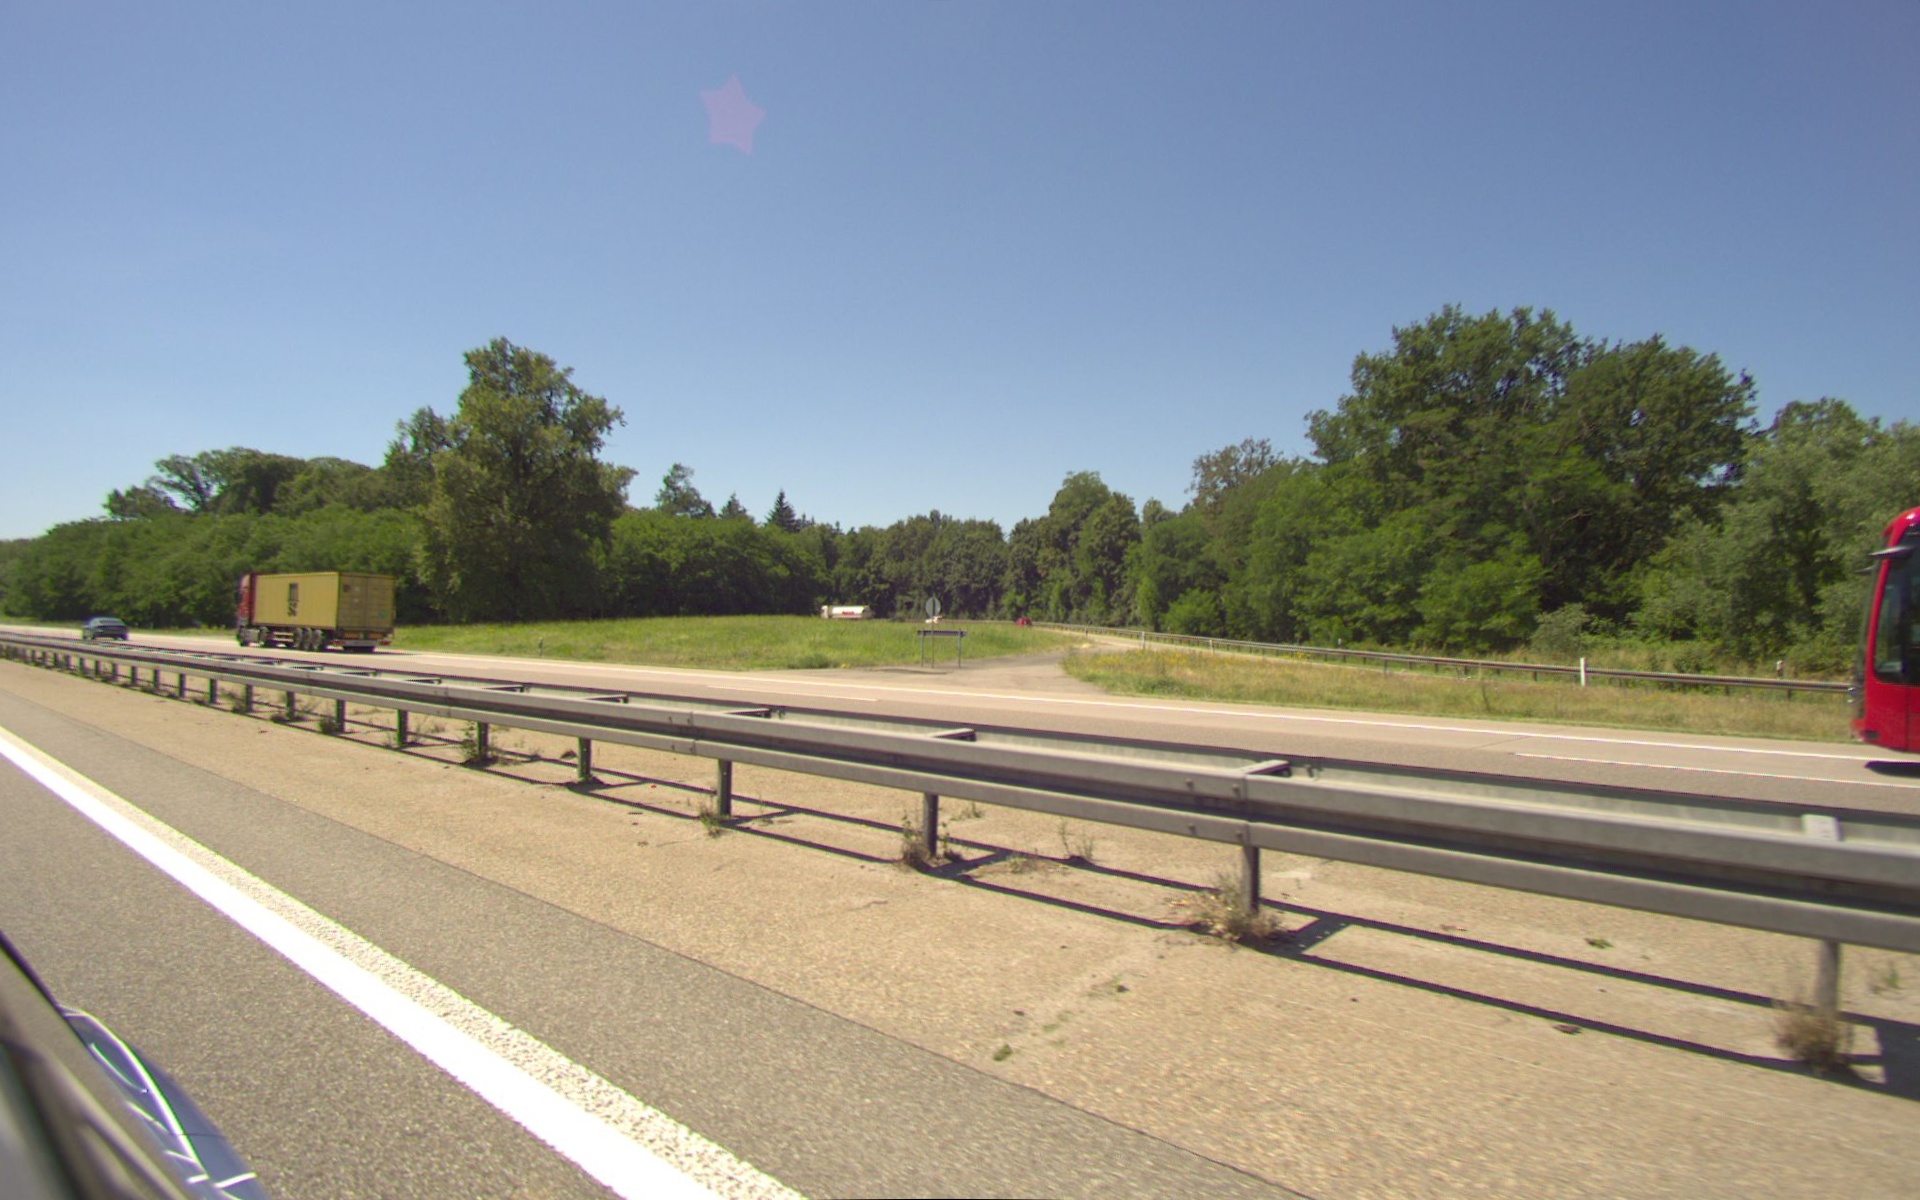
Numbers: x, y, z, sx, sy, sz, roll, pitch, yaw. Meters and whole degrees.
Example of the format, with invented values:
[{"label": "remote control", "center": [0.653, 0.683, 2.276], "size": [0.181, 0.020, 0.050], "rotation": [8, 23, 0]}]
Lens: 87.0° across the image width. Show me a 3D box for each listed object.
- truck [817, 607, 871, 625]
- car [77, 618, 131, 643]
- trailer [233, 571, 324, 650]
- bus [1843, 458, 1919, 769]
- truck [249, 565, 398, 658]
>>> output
[{"label": "truck", "center": [-22.113, 3.055, 192.049], "size": [2.664, 3.307, 14.807], "rotation": [-1, 0, -39]}, {"label": "car", "center": [-54.568, 1.944, 64.499], "size": [4.783, 1.391, 1.703], "rotation": [0, -5, 40]}, {"label": "trailer", "center": [-36.588, 0.588, 54.256], "size": [6.026, 4.022, 2.576], "rotation": [-1, -2, 41]}, {"label": "bus", "center": [14.509, 0.134, 9.777], "size": [8.928, 3.473, 2.735], "rotation": [-1, -2, 41]}, {"label": "truck", "center": [-31.738, 0.637, 50.112], "size": [12.686, 4.078, 2.572], "rotation": [-1, -4, 41]}]
